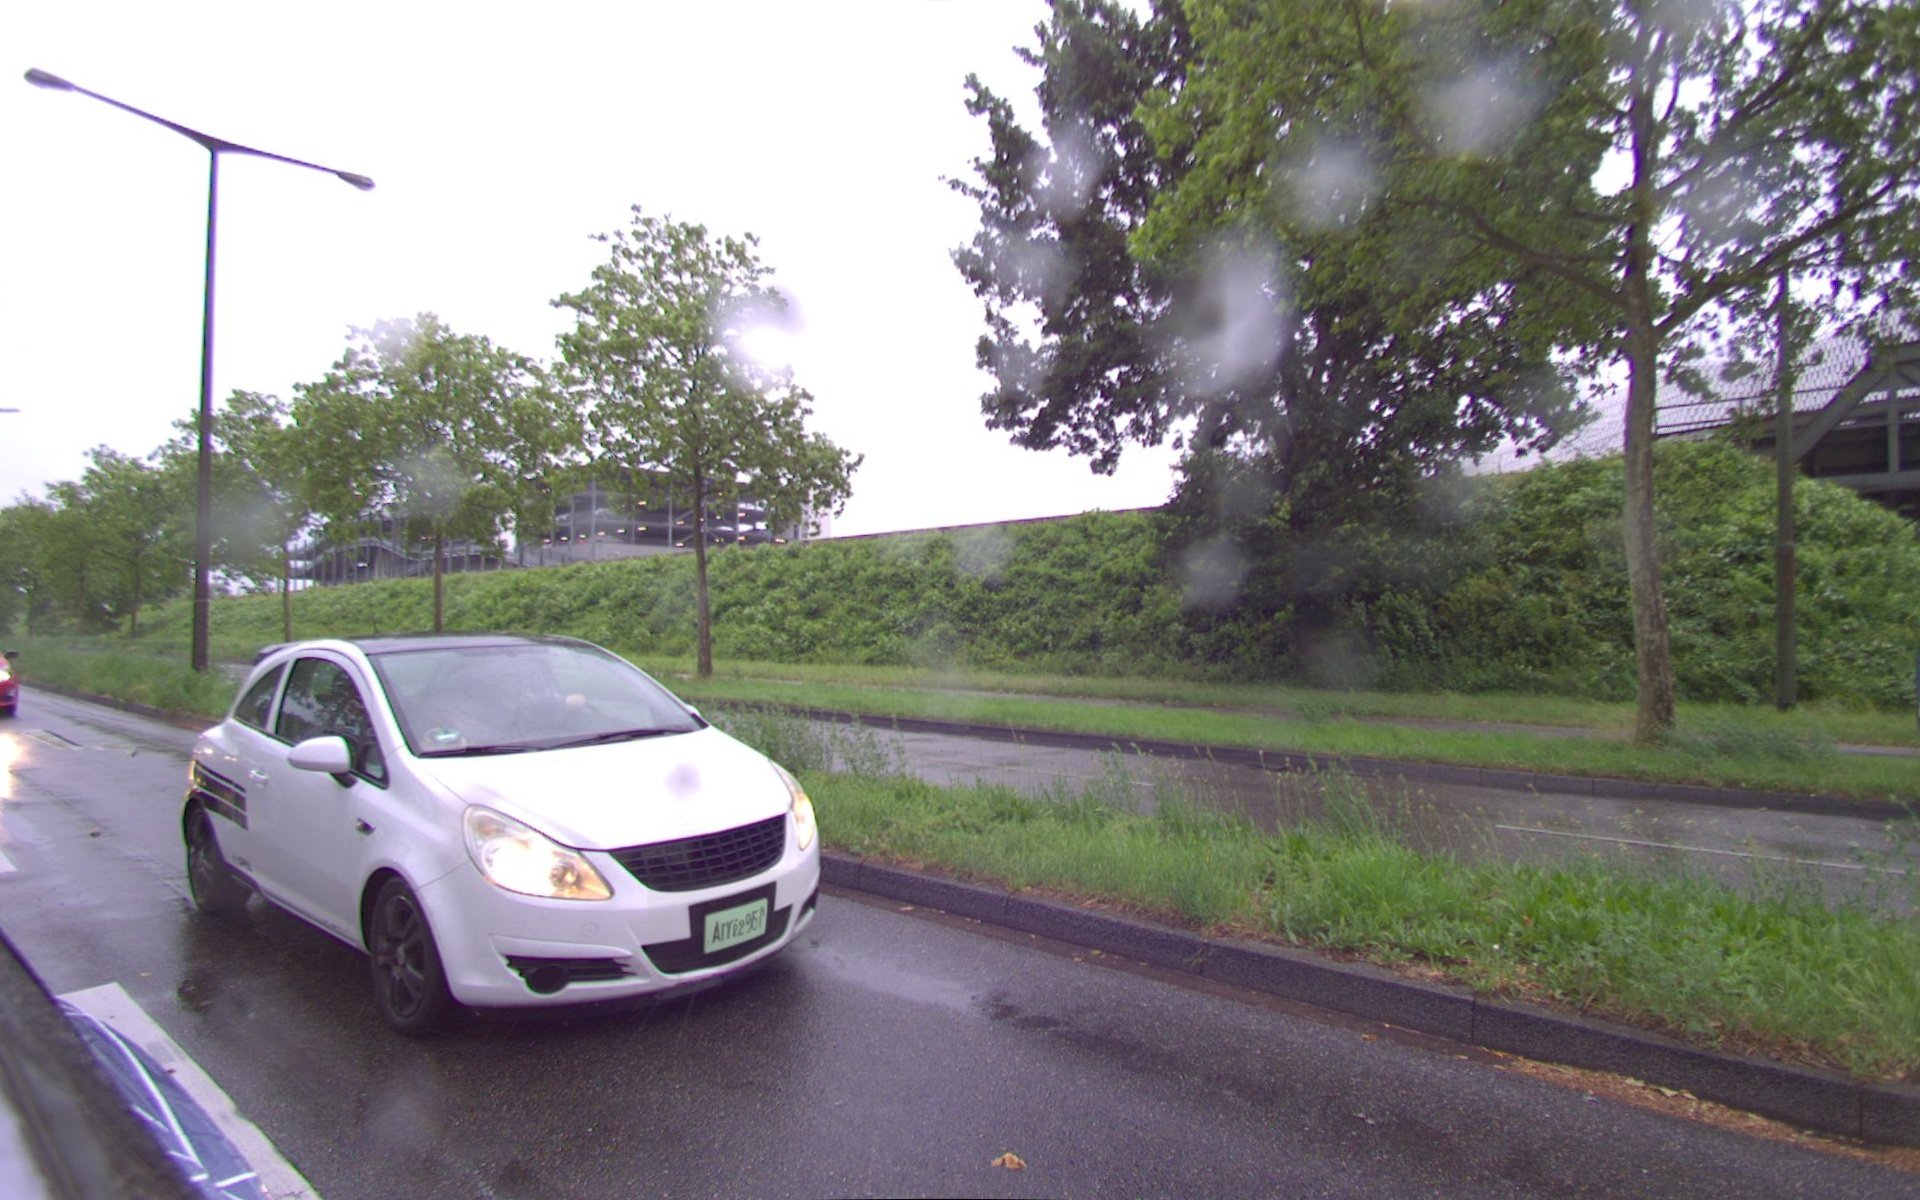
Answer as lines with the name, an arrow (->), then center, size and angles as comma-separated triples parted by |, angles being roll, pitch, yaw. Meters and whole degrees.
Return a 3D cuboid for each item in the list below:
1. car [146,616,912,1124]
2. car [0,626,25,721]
car -> -2.272, 0.812, 4.765 | 4.007, 1.387, 1.662 | -2, -1, 40
car -> -17.085, 1.213, 16.684 | 4.084, 1.476, 1.704 | -2, -1, 36
